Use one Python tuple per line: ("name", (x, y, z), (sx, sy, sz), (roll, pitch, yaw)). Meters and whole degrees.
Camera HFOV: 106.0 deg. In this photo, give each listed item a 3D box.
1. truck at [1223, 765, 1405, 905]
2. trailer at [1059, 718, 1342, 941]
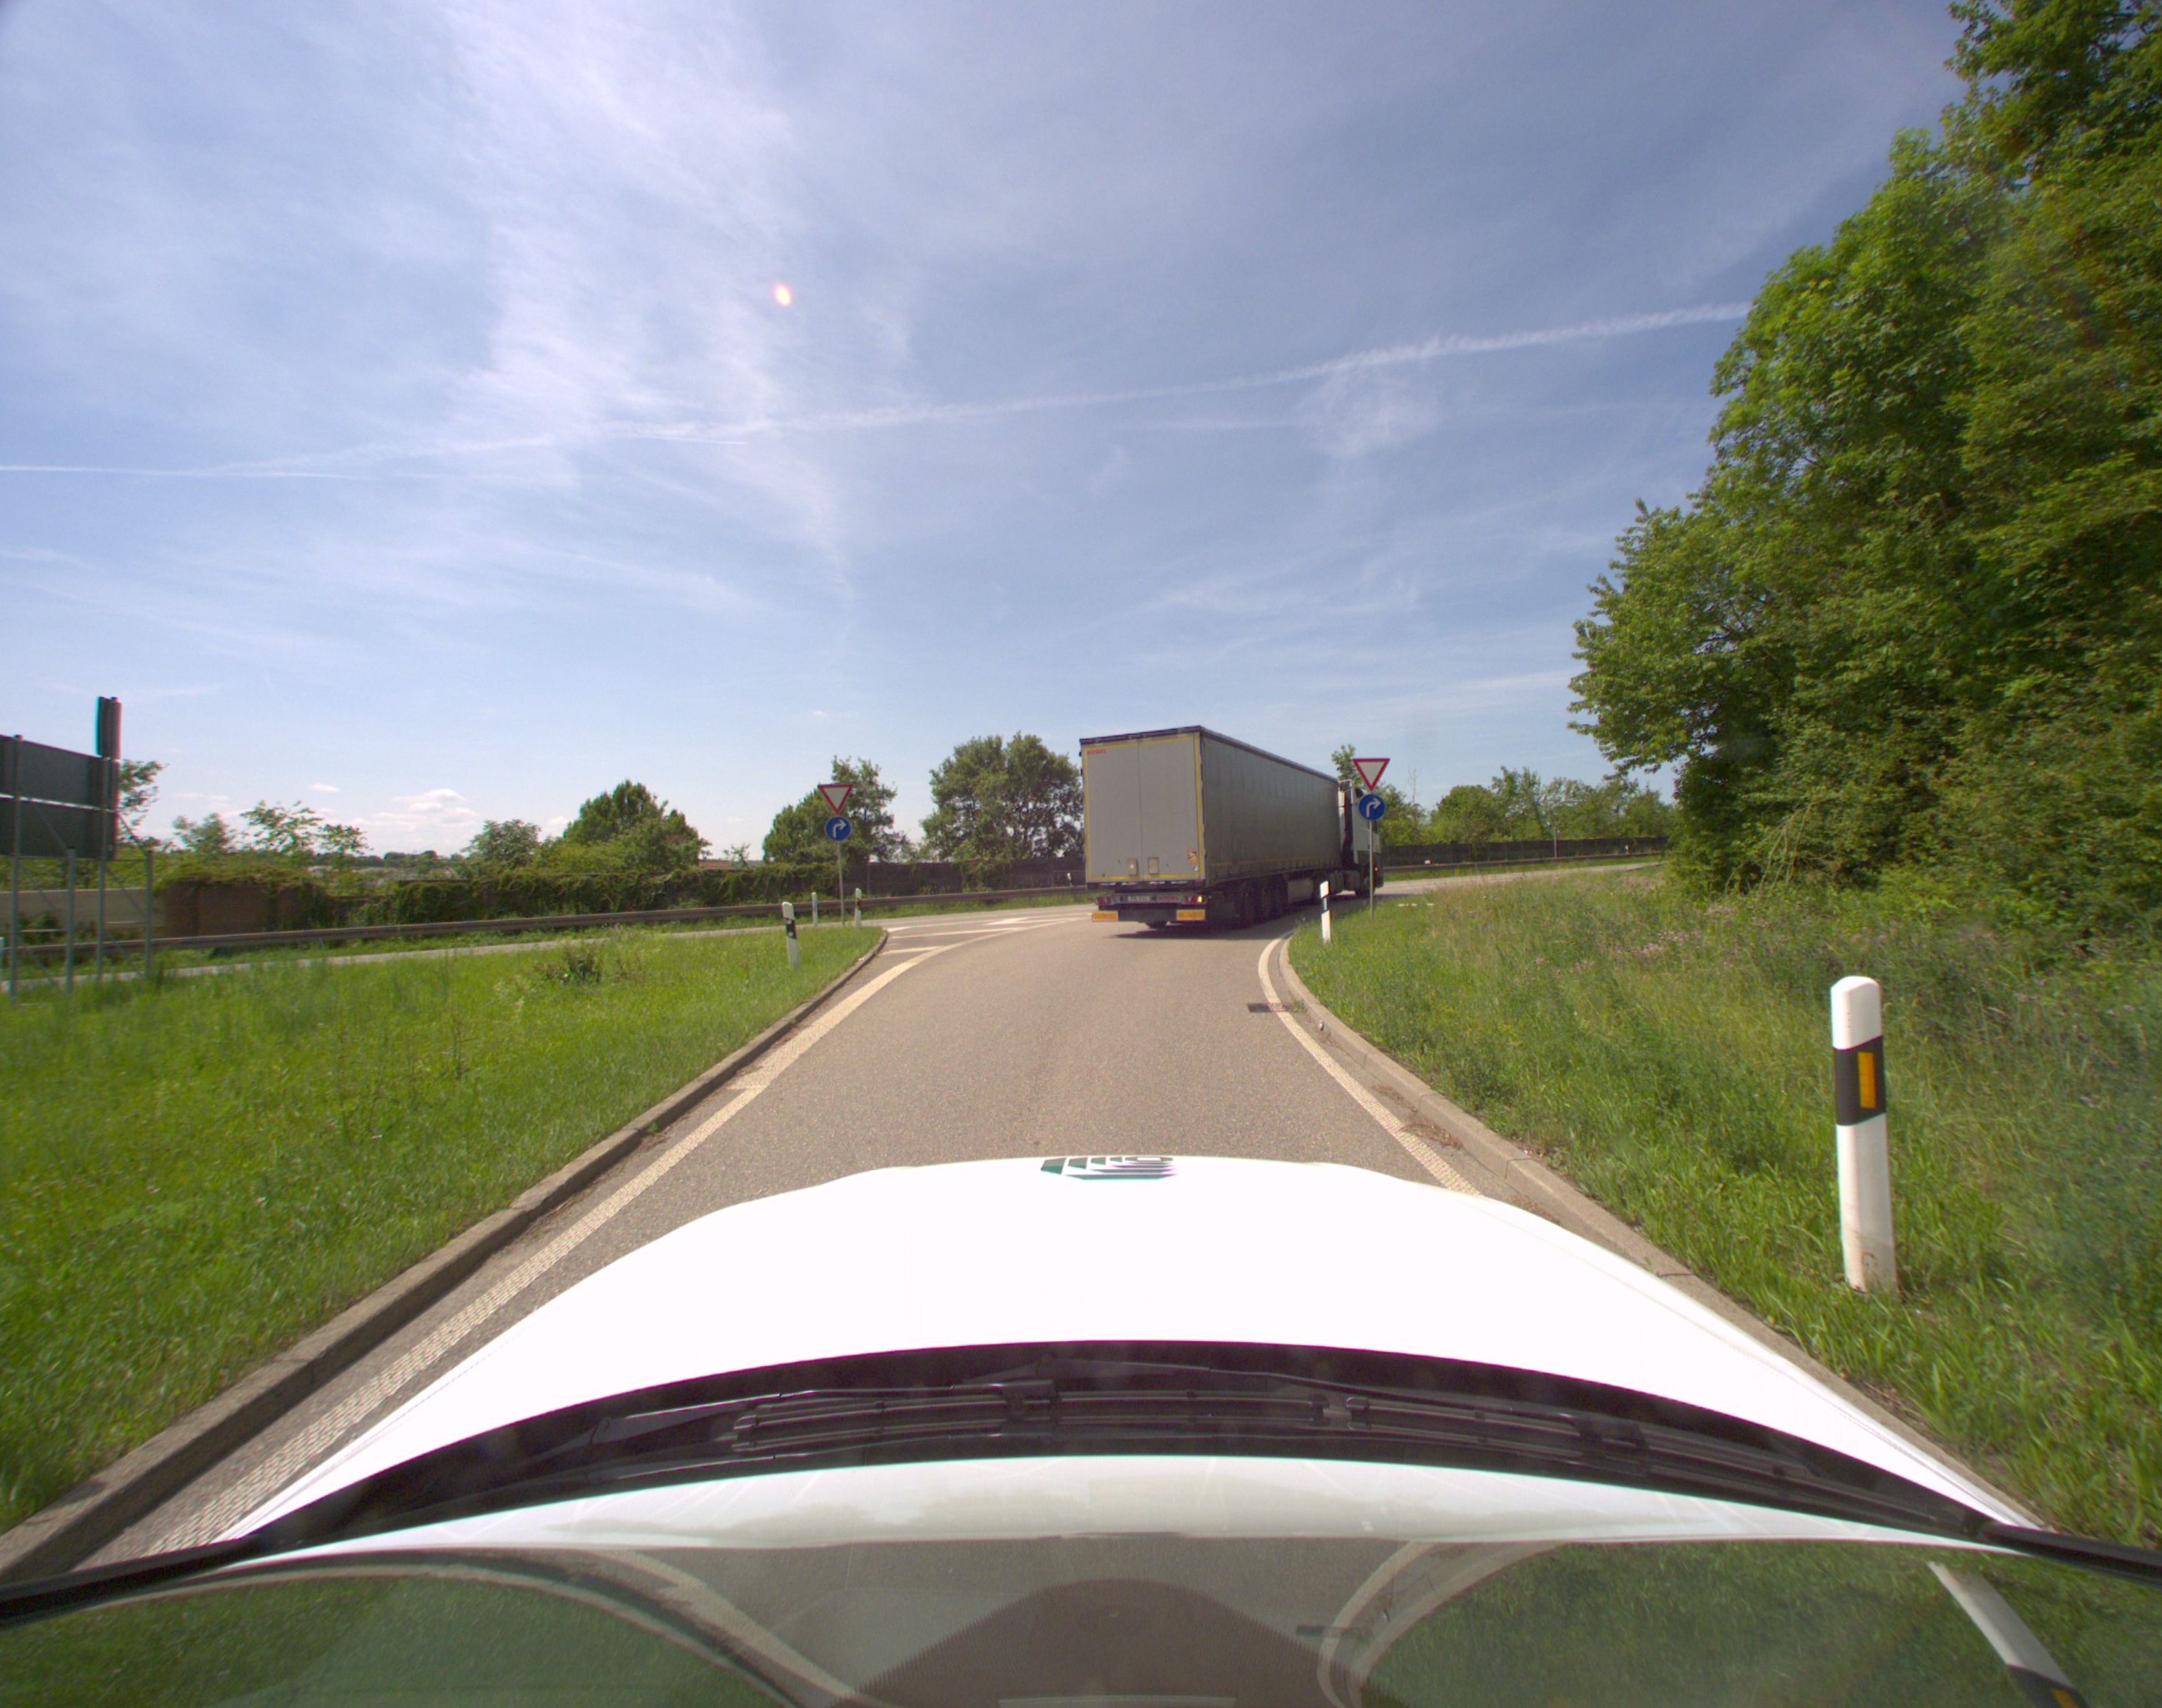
("truck", (8.271, -0.612, 28.280), (3.123, 4.224, 7.166), (-2, 0, 42))
("trailer", (4.055, -0.429, 21.417), (2.998, 4.035, 13.432), (-2, -1, 27))
